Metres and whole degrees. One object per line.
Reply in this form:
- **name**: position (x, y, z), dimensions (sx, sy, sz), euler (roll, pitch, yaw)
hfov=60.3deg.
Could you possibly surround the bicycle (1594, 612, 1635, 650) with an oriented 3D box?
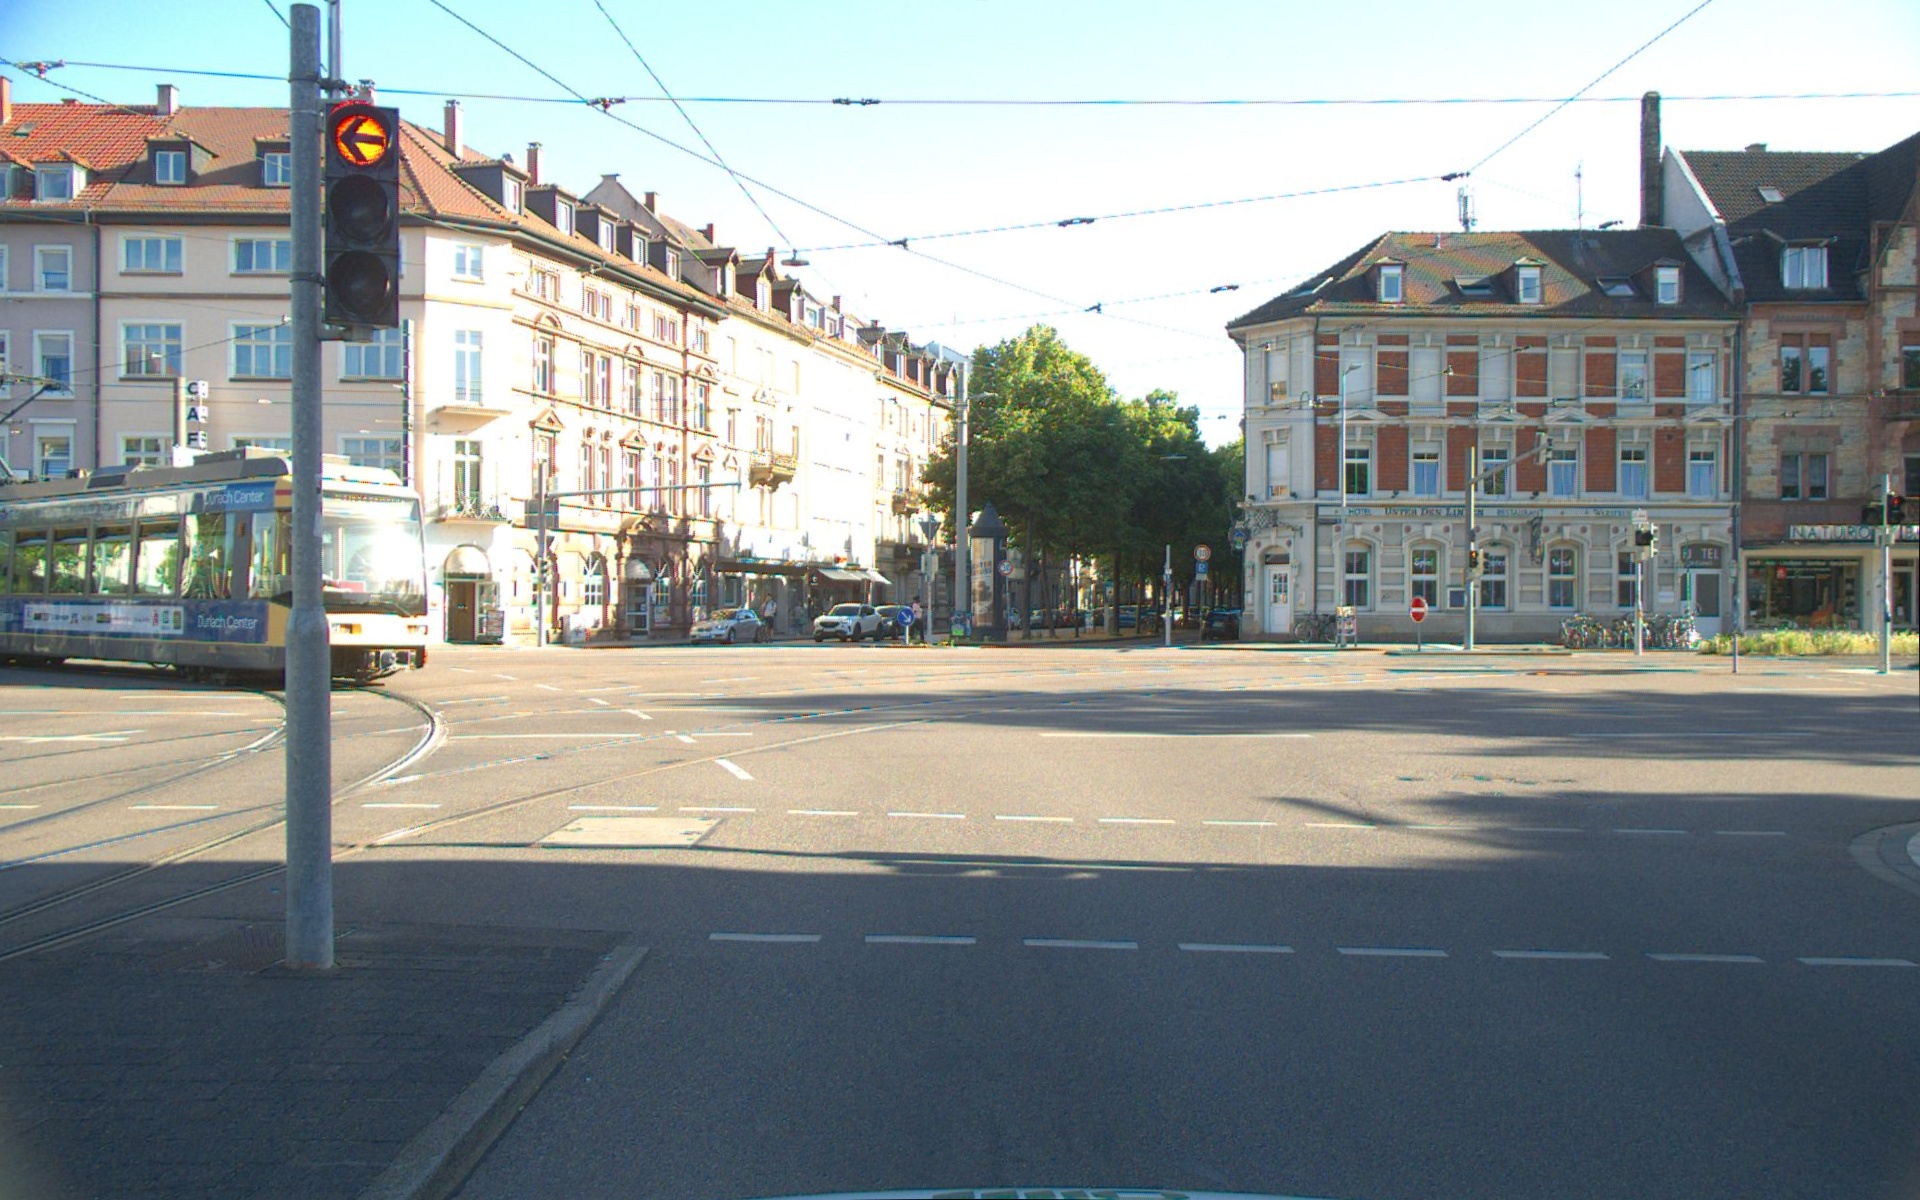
- **bicycle**: position (21.160, 0.995, 53.517), dimensions (0.605, 1.163, 2.175), euler (0, 0, 4)

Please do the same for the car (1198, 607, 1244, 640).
- **car**: position (13.063, 1.159, 82.641), dimensions (1.951, 1.613, 4.003), euler (0, 0, 13)

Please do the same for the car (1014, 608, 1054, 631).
- **car**: position (5.518, 1.421, 122.745), dimensions (1.951, 1.640, 4.393), euler (0, 0, 17)

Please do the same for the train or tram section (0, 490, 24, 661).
- **train or tram section**: position (-25.772, -0.509, 35.243), dimensions (11.737, 3.561, 2.781), euler (0, 0, 17)

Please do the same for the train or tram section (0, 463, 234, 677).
- **train or tram section**: position (-17.182, -0.526, 31.310), dimensions (8.299, 3.561, 2.811), euler (0, 0, 39)

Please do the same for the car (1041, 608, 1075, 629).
- **car**: position (7.770, 1.418, 130.569), dimensions (1.798, 1.579, 4.393), euler (0, 0, 16)

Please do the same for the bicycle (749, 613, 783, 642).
- **bicycle**: position (-7.602, 1.079, 64.896), dimensions (0.665, 1.085, 2.127), euler (0, 0, 12)

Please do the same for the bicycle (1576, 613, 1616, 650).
- **bicycle**: position (20.588, 1.000, 53.547), dimensions (0.605, 1.163, 2.175), euler (0, 0, 4)

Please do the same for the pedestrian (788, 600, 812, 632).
- **pedestrian**: position (-8.080, 0.806, 83.490), dimensions (0.908, 1.562, 1.138), euler (0, 0, 13)

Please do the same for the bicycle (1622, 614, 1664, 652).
- **bicycle**: position (22.067, 1.057, 53.458), dimensions (0.605, 1.163, 2.175), euler (0, 0, 4)

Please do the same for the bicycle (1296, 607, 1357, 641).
- **bicycle**: position (12.746, 0.819, 57.590), dimensions (2.045, 1.144, 0.366), euler (1, -1, -5)

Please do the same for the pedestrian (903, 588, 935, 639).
- **pedestrian**: position (-1.442, 0.478, 58.337), dimensions (1.027, 1.774, 0.807), euler (0, 0, -9)

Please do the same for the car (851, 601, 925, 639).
- **car**: position (-3.154, 0.860, 73.794), dimensions (1.951, 1.640, 4.393), euler (0, 0, 17)

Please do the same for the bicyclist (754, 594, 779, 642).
- **bicyclist**: position (-7.591, 0.692, 64.938), dimensions (0.664, 1.852, 1.071), euler (0, 0, 12)

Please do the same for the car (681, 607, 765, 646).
- **car**: position (-9.532, 1.033, 66.906), dimensions (1.858, 1.481, 4.002), euler (0, 0, 17)

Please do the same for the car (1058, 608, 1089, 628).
- **car**: position (9.382, 1.457, 136.470), dimensions (1.727, 1.576, 4.394), euler (0, 0, 16)

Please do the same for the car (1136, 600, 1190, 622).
- **car**: position (16.408, 0.882, 133.880), dimensions (3.912, 1.736, 1.996), euler (0, 0, 30)

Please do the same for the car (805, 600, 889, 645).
- **car**: position (-4.548, 0.882, 67.259), dimensions (1.951, 1.713, 4.393), euler (0, 0, 17)

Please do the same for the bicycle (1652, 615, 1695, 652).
- **bicycle**: position (23.032, 1.060, 53.406), dimensions (0.596, 1.156, 2.136), euler (0, 0, 4)

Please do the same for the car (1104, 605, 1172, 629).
- **car**: position (12.454, 1.195, 115.588), dimensions (4.290, 1.640, 1.998), euler (0, 0, 26)

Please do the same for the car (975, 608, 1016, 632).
- **car**: position (2.404, 1.322, 110.997), dimensions (1.951, 1.512, 4.003), euler (0, 0, 13)

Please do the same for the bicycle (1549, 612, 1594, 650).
- **bicycle**: position (19.816, 0.990, 53.666), dimensions (0.789, 1.163, 2.175), euler (0, 0, 4)

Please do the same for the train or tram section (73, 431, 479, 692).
- **train or tram section**: position (-11.020, -0.546, 26.216), dimensions (7.817, 3.561, 2.808), euler (0, 0, 41)
